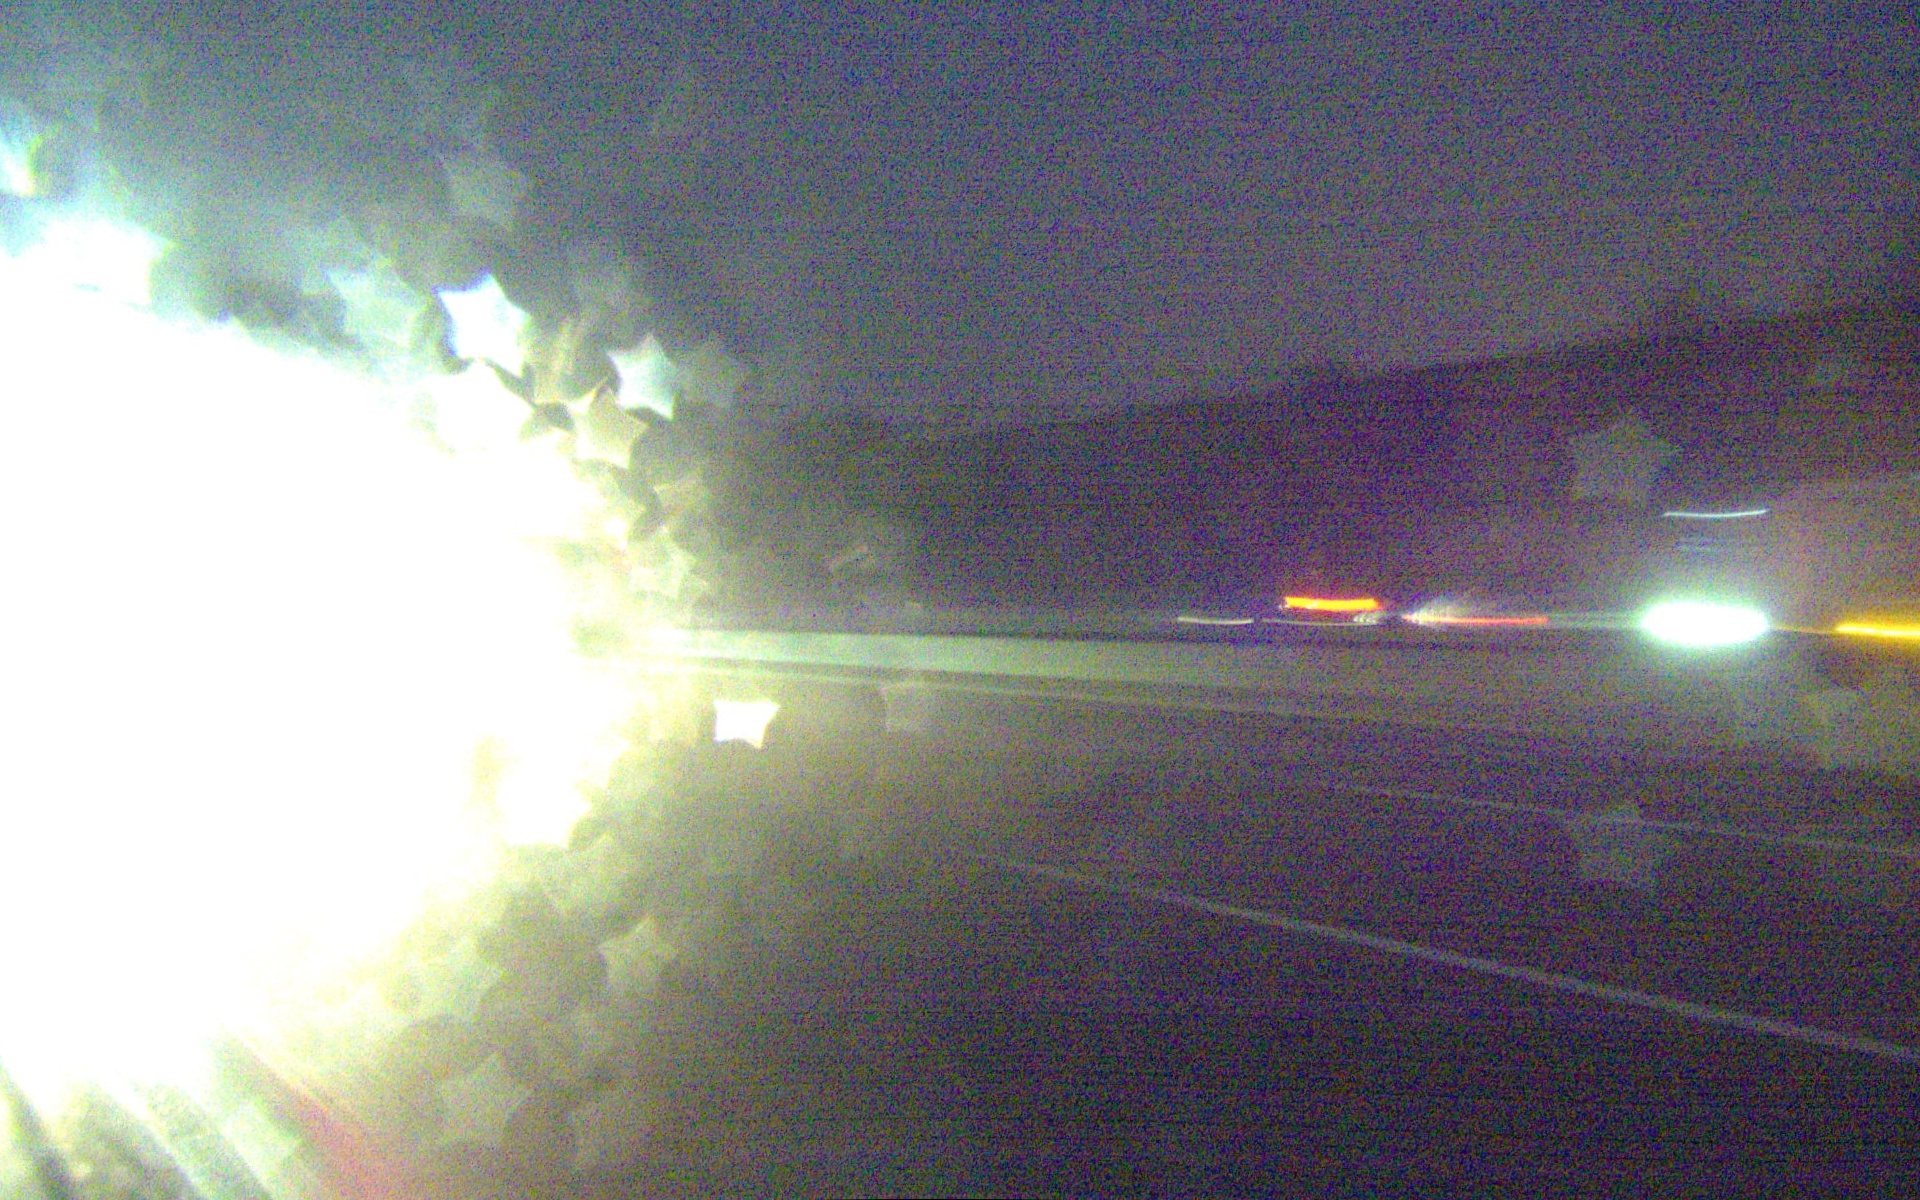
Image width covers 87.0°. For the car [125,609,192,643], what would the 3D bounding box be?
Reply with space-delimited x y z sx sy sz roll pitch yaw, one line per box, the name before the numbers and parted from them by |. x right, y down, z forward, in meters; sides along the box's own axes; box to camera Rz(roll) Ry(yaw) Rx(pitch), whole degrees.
car | -40.533 1.289 51.150 3.997 1.608 1.897 0 1 40

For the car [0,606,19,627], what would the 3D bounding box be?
car | -86.799 1.543 91.720 4.001 1.807 1.903 -1 3 44

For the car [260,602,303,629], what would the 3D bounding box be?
car | -56.601 1.267 84.369 4.279 2.028 1.972 0 3 43

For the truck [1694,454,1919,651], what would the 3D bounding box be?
truck | 20.434 -1.062 22.661 6.264 4.120 2.700 0 3 41

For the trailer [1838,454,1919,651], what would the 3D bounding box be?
trailer | 25.622 -1.098 18.147 14.852 4.120 2.700 0 3 41

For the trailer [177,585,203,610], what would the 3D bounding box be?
trailer | -123.116 -0.375 161.815 2.619 3.758 13.968 -4 3 -39

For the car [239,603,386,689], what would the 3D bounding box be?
car | -13.696 0.884 21.323 4.001 1.608 1.703 0 1 43

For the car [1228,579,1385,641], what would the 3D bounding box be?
car | 9.403 0.263 27.586 3.702 1.501 1.644 -1 2 41

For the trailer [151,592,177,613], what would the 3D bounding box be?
trailer | -163.985 0.557 208.511 2.738 4.058 14.027 -4 3 -43

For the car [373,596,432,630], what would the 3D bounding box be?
car | -35.448 0.805 64.327 4.279 2.028 1.972 -1 2 43

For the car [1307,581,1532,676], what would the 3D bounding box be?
car | 9.819 0.547 21.760 3.998 1.770 1.973 0 3 41

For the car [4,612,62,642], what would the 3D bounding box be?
car | -51.861 1.478 56.578 3.997 1.608 1.897 0 1 40

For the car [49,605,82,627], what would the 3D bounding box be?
car | -80.457 1.425 91.019 4.002 1.807 1.903 -1 3 45

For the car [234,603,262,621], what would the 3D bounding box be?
car | -87.487 1.455 124.387 4.001 1.996 1.972 0 2 44
